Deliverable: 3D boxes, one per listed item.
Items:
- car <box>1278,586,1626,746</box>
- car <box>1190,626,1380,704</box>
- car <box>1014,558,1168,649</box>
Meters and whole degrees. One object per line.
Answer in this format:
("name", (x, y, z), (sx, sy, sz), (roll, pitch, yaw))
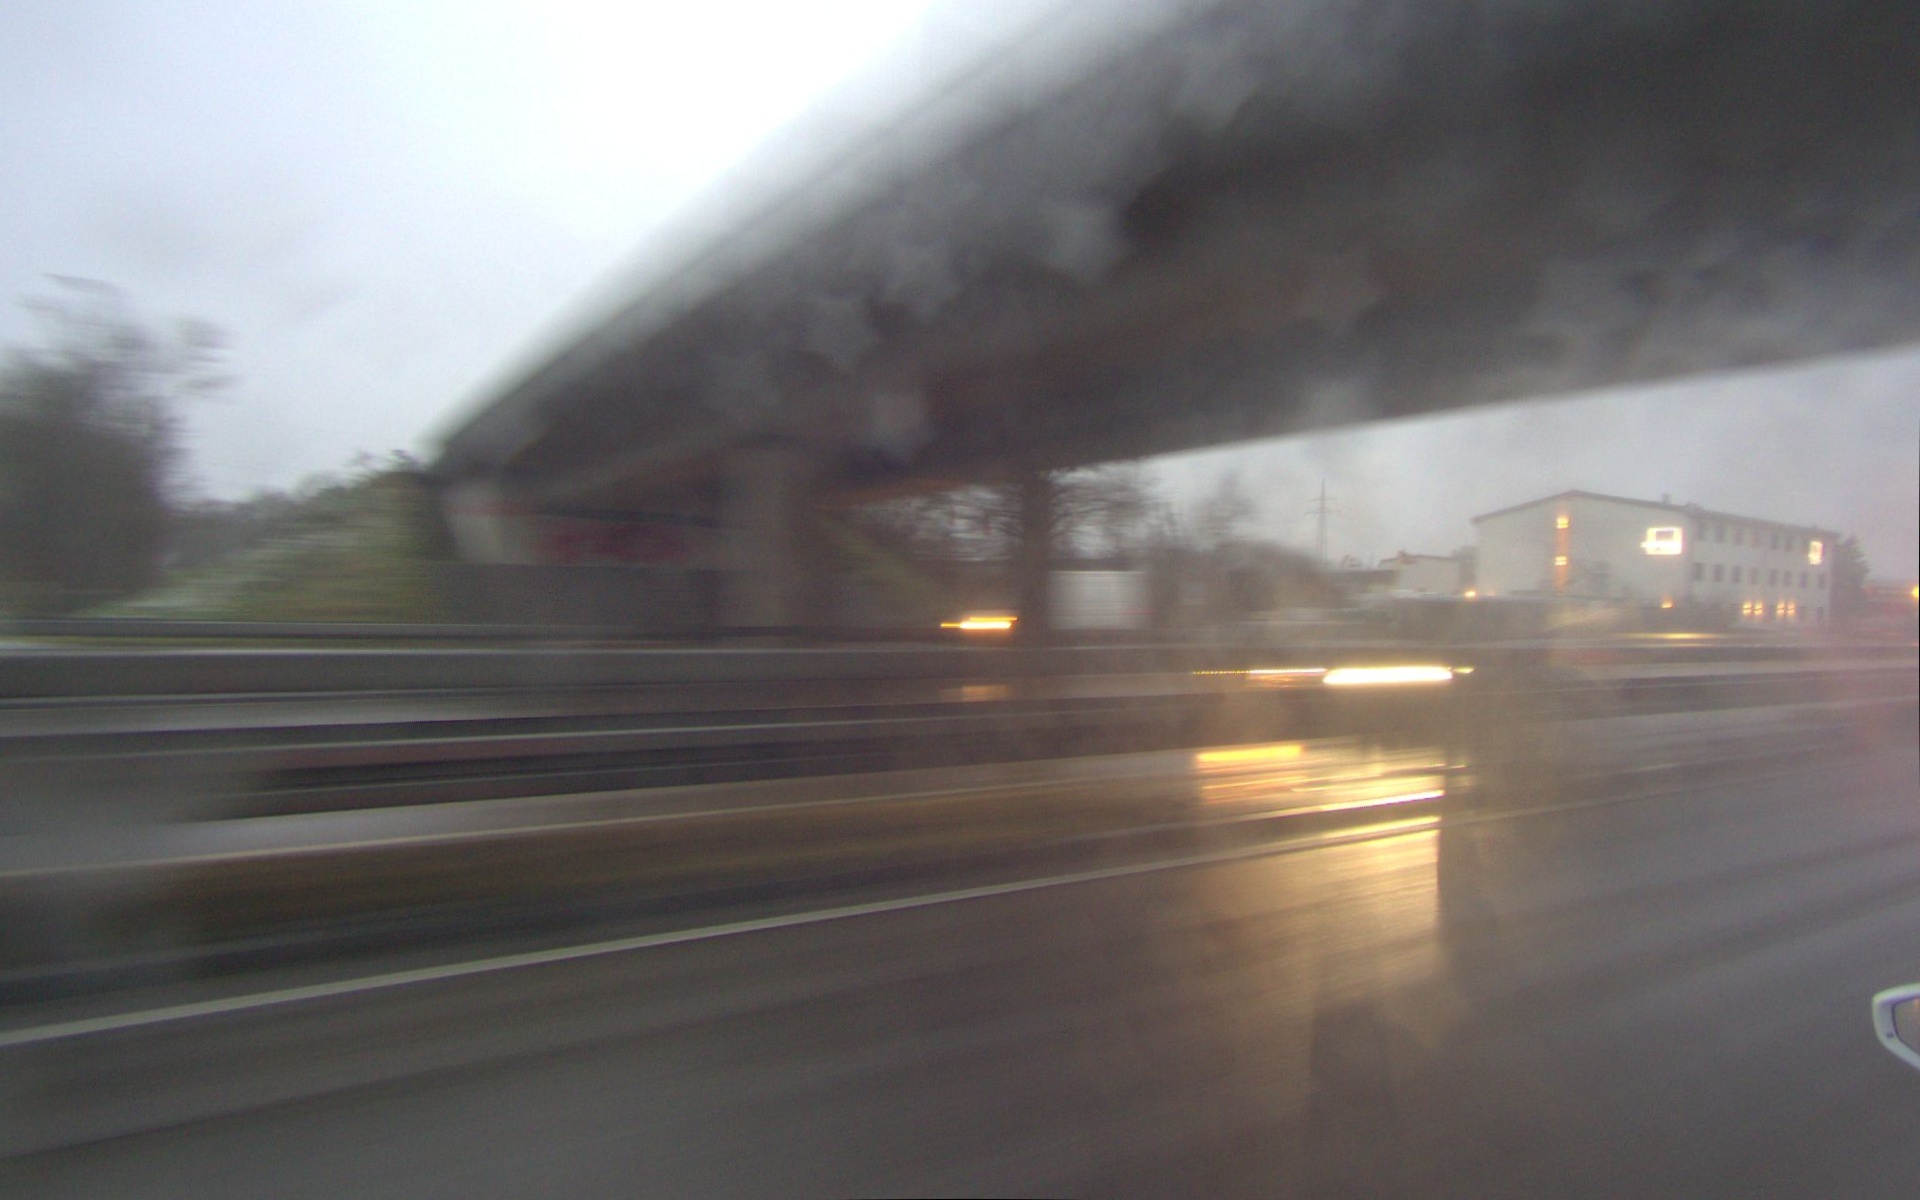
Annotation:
("car", (7.216, 0.837, 14.560), (5.210, 1.898, 1.983), (1, 3, -31))
("car", (5.838, 1.108, 17.977), (3.329, 1.238, 1.427), (1, 0, -32))
("car", (4.315, 0.105, 33.064), (4.519, 2.810, 2.182), (1, 3, -27))
